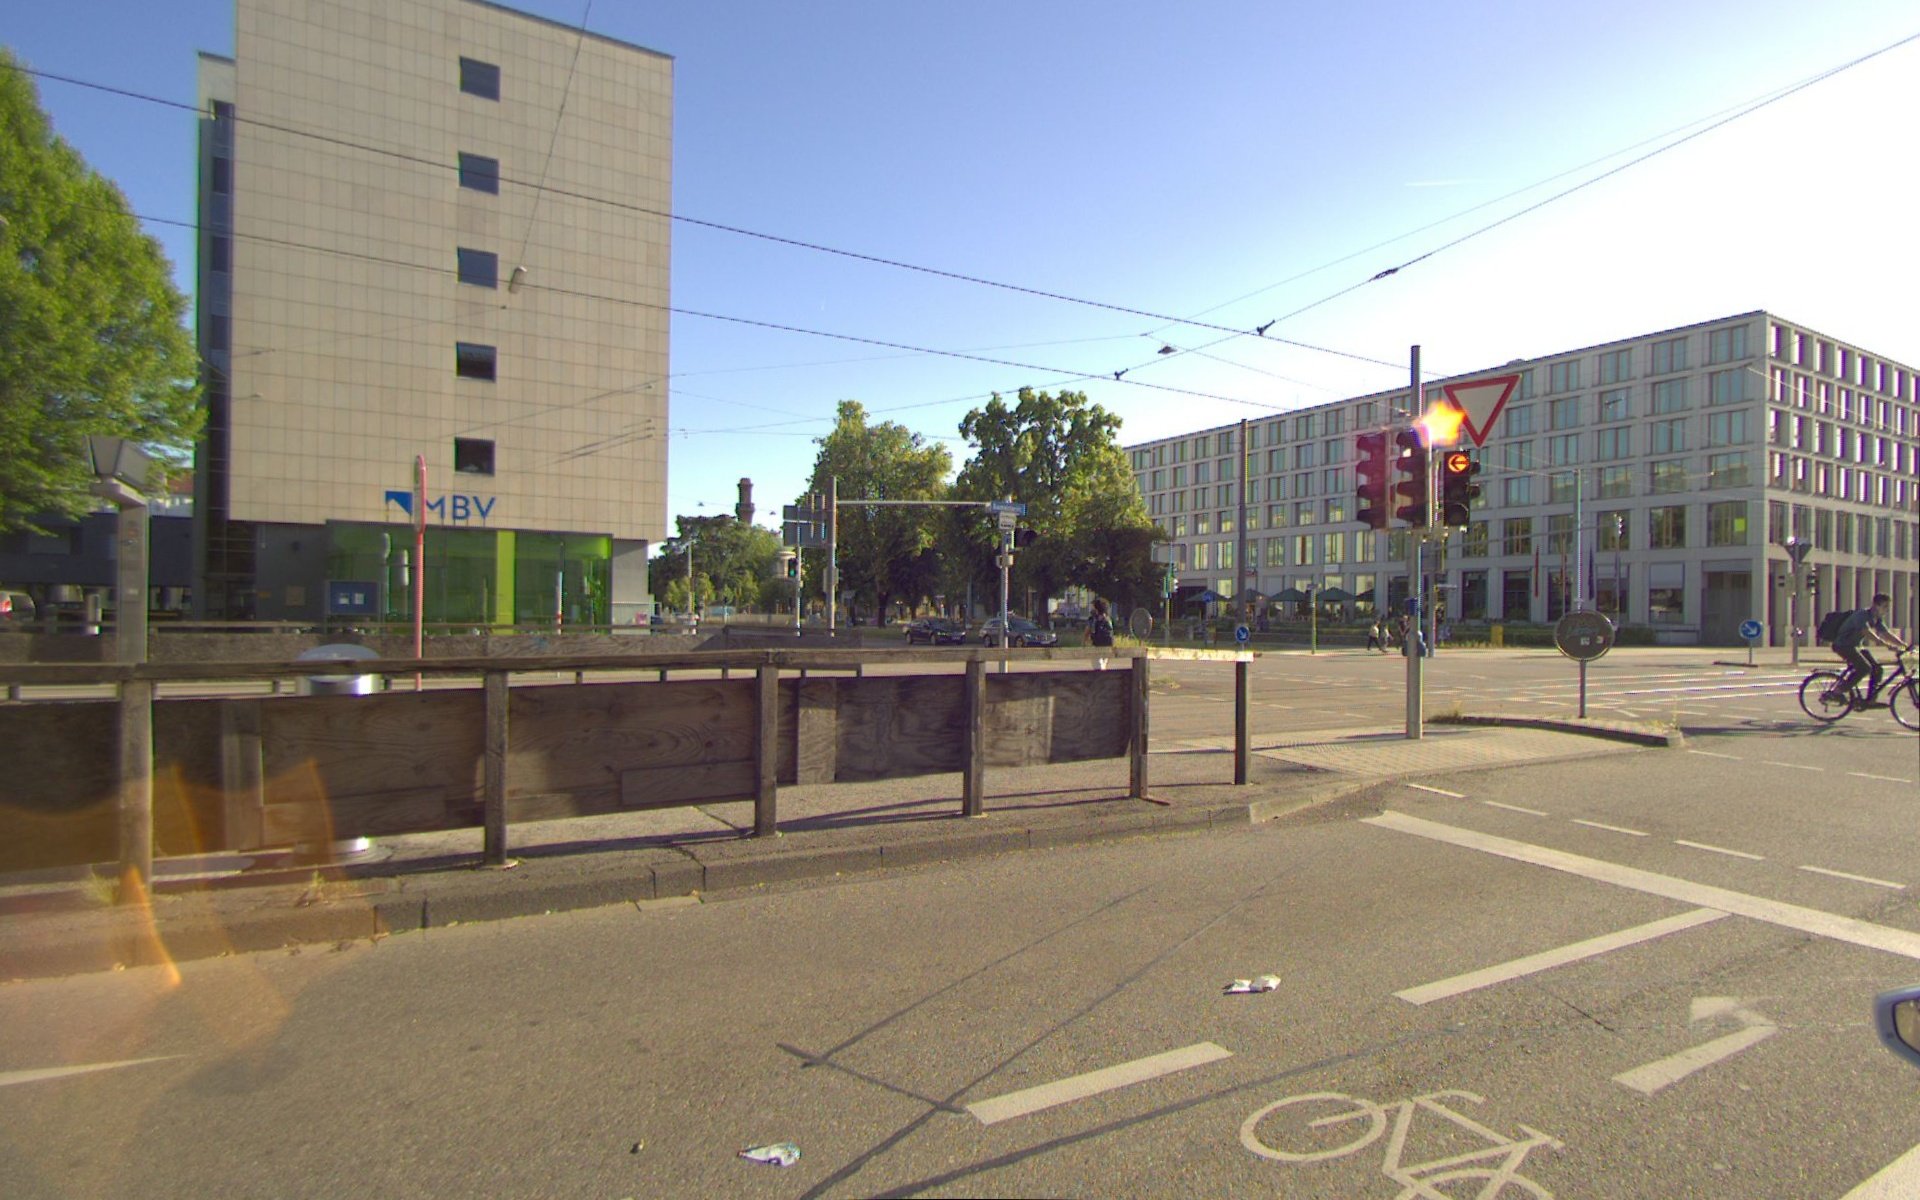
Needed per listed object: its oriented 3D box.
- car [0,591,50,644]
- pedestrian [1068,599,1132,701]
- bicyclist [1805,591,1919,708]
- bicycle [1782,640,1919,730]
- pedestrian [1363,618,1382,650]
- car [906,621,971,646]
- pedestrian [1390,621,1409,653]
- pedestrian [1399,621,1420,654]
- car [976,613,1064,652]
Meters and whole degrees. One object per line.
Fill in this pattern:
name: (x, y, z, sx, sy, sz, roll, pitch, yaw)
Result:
car: (-27.719, 0.454, 27.793, 3.371, 1.431, 1.562, 2, 0, -20)
pedestrian: (2.461, 0.860, 17.660, 0.819, 1.739, 0.753, 1, -1, -34)
bicyclist: (13.050, 0.688, 14.474, 0.756, 1.616, 1.121, 0, 0, -24)
bicycle: (13.074, 1.186, 14.397, 0.756, 1.174, 1.868, 0, -1, -24)
pedestrian: (21.642, 1.778, 52.673, 0.612, 1.666, 0.692, 1, -1, -23)
car: (-1.238, 1.814, 54.775, 1.755, 1.311, 4.209, 1, -1, -30)
pedestrian: (22.979, 1.948, 52.514, 0.615, 1.666, 0.690, 1, -1, -34)
pedestrian: (22.803, 1.881, 50.975, 0.615, 1.666, 0.787, 1, -1, -34)
car: (2.798, 1.512, 47.728, 1.833, 1.602, 4.486, 1, 1, -34)
